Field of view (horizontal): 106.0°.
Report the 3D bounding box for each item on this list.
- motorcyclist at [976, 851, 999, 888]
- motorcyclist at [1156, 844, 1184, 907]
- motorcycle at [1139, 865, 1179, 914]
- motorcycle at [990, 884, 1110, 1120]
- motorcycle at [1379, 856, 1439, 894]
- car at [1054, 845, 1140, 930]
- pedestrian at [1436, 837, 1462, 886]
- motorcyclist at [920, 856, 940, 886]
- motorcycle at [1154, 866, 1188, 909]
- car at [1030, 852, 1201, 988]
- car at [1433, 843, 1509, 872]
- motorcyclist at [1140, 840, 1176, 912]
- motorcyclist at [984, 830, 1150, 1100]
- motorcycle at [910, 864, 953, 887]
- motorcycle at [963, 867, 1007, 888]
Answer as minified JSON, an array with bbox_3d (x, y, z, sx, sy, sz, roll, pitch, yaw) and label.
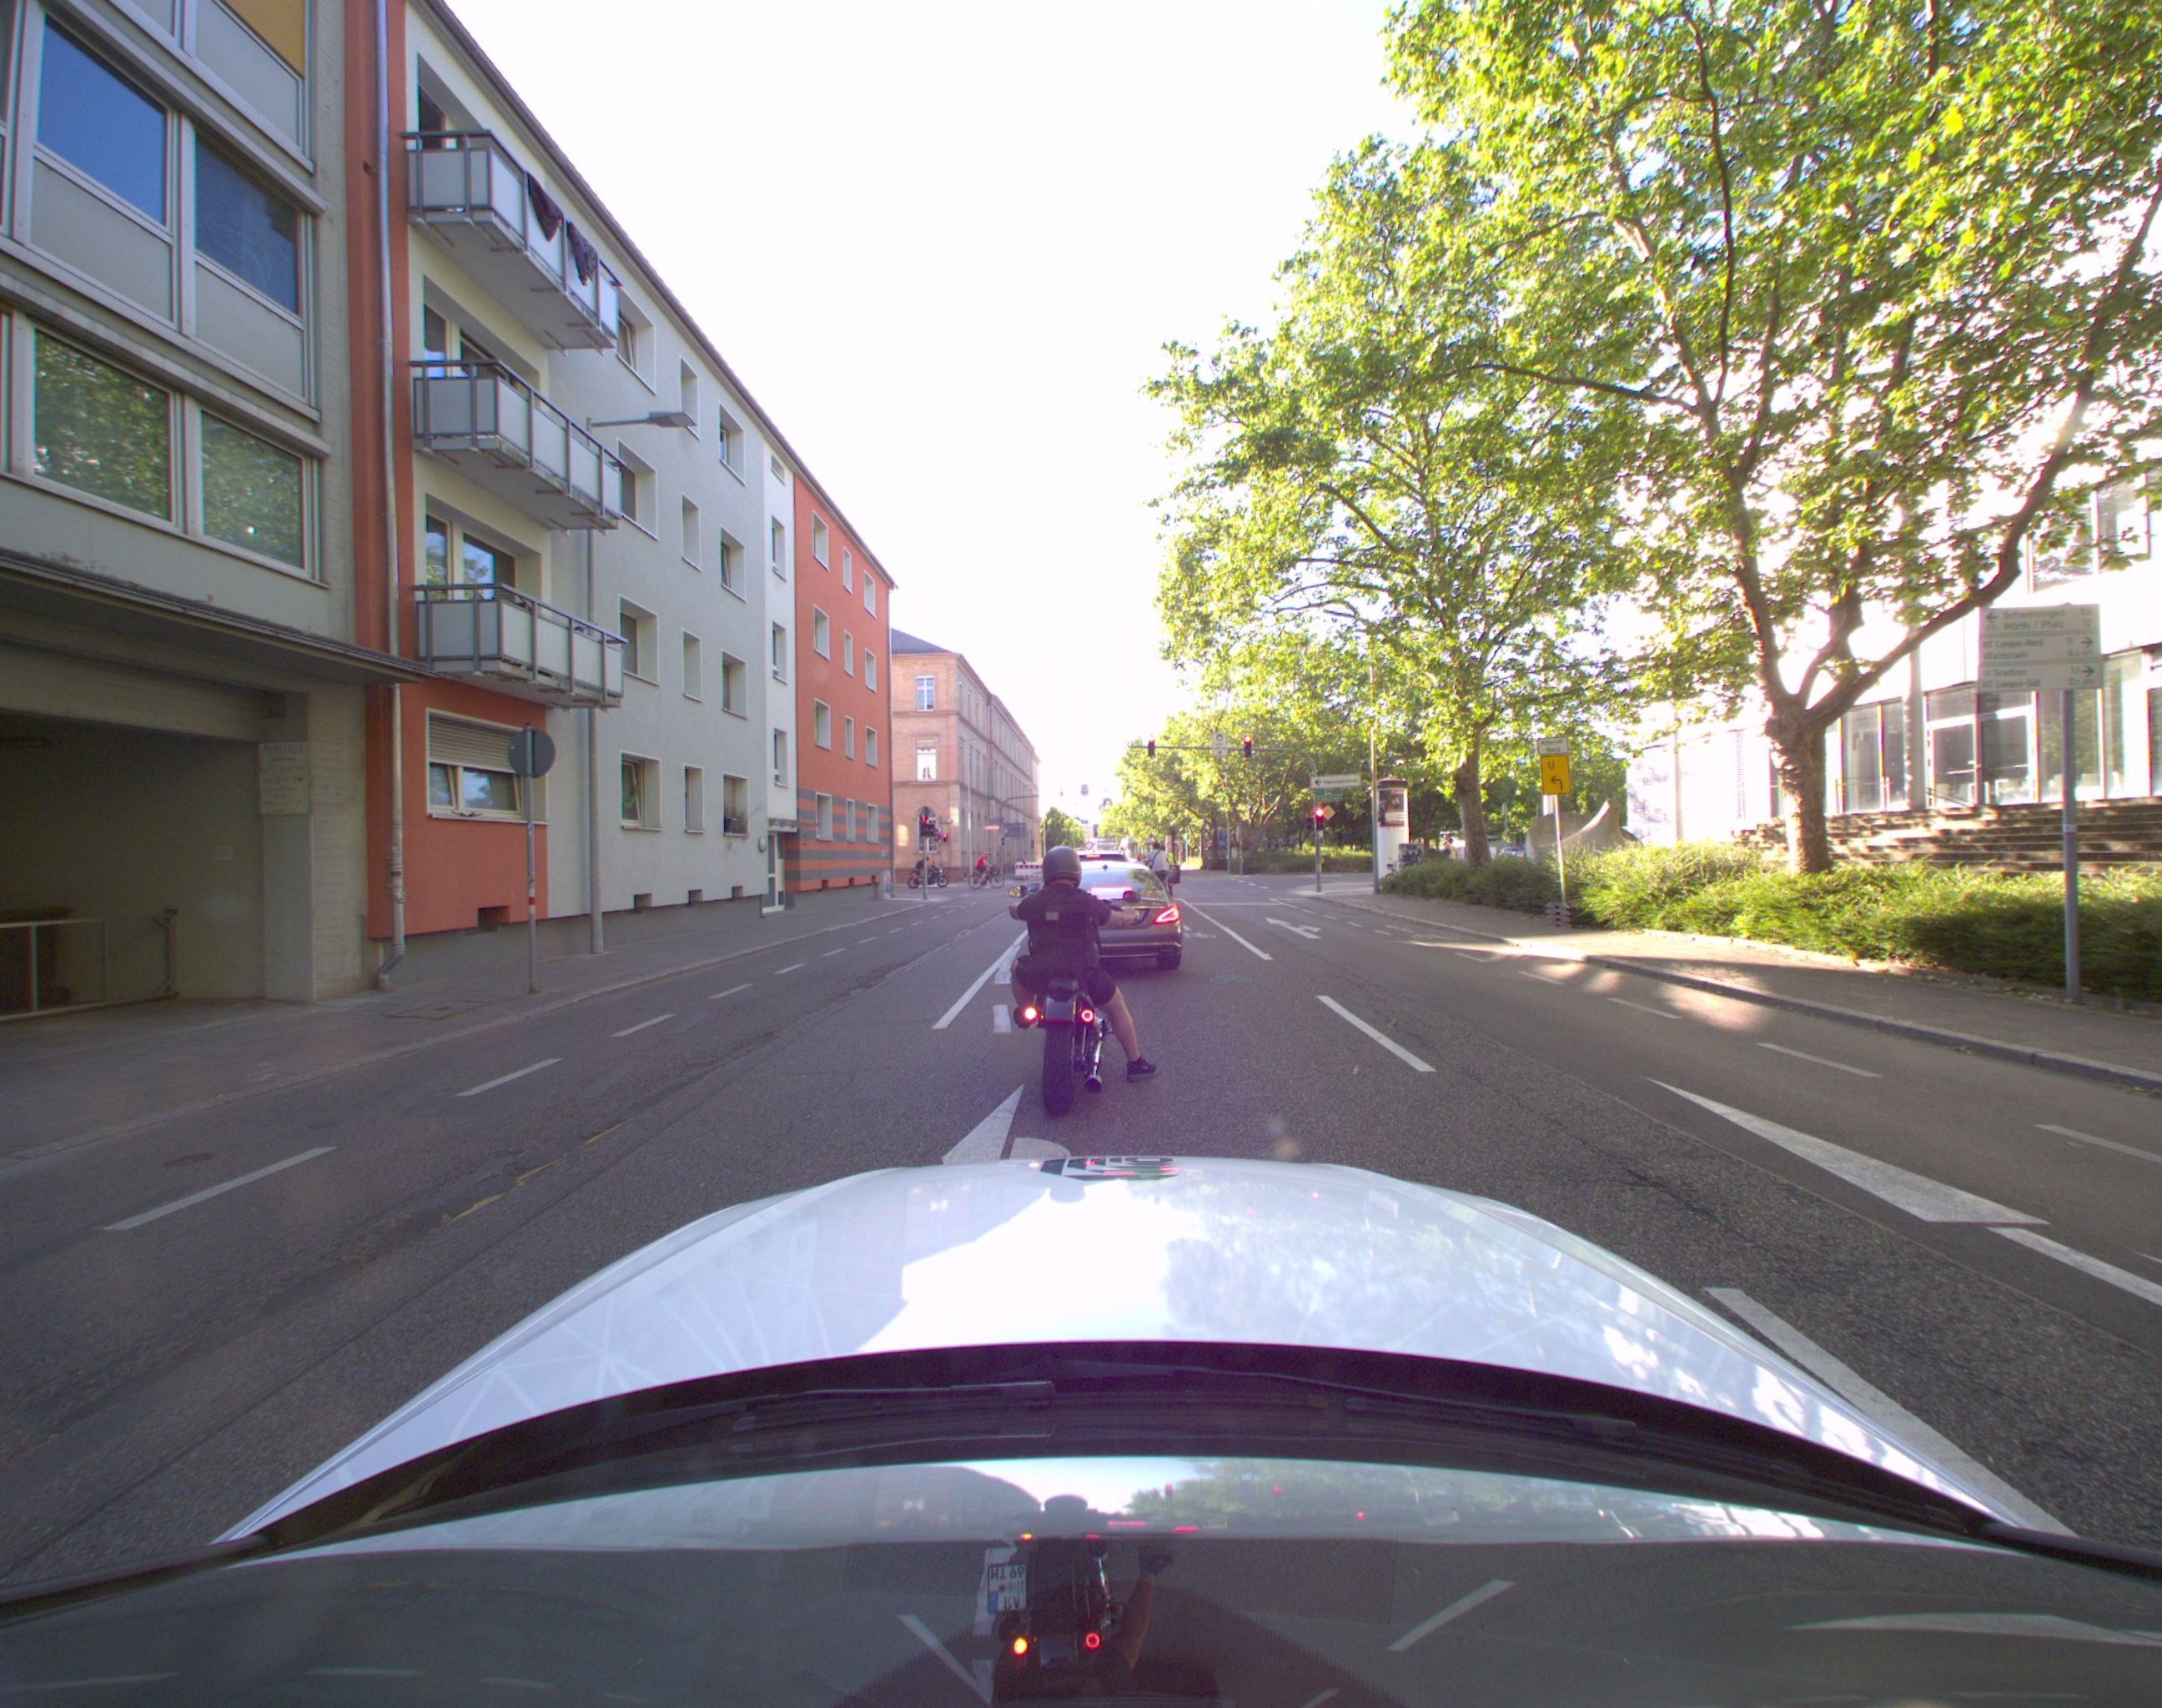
[{"bbox_3d":[-4.430,0.746,38.706,0.981,1.722,0.551,0,-1,2],"label":"motorcyclist"},{"bbox_3d":[2.494,0.587,22.889,0.714,1.743,0.751,0,-1,1],"label":"motorcyclist"},{"bbox_3d":[1.934,0.865,20.462,0.859,1.168,1.930,0,-1,2],"label":"motorcycle"},{"bbox_3d":[-0.140,0.856,5.535,0.657,1.240,2.058,0,-1,2],"label":"motorcycle"},{"bbox_3d":[11.071,0.713,27.539,1.771,1.243,0.724,0,-1,7],"label":"motorcycle"},{"bbox_3d":[0.378,0.666,17.835,1.645,1.652,4.002,0,-1,2],"label":"car"},{"bbox_3d":[13.753,0.278,30.413,0.645,1.827,0.667,-1,0,1],"label":"pedestrian"},{"bbox_3d":[-7.645,0.851,41.251,0.937,1.537,0.644,0,-1,-3],"label":"motorcyclist"},{"bbox_3d":[2.506,0.905,22.888,0.794,1.131,2.237,0,-1,2],"label":"motorcycle"},{"bbox_3d":[0.262,0.744,11.238,1.821,1.486,4.325,0,-1,-5],"label":"car"},{"bbox_3d":[24.628,0.210,51.519,3.974,1.772,1.738,-1,0,-1],"label":"car"},{"bbox_3d":[1.939,0.551,20.602,0.828,1.788,0.913,0,-1,1],"label":"motorcyclist"},{"bbox_3d":[-0.069,0.670,5.443,0.986,1.611,1.121,0,-1,1],"label":"motorcyclist"},{"bbox_3d":[-7.549,1.085,41.248,2.076,1.097,0.627,0,-1,-3],"label":"motorcycle"},{"bbox_3d":[-4.553,1.121,38.695,2.004,0.962,0.581,0,-1,2],"label":"motorcycle"}]
